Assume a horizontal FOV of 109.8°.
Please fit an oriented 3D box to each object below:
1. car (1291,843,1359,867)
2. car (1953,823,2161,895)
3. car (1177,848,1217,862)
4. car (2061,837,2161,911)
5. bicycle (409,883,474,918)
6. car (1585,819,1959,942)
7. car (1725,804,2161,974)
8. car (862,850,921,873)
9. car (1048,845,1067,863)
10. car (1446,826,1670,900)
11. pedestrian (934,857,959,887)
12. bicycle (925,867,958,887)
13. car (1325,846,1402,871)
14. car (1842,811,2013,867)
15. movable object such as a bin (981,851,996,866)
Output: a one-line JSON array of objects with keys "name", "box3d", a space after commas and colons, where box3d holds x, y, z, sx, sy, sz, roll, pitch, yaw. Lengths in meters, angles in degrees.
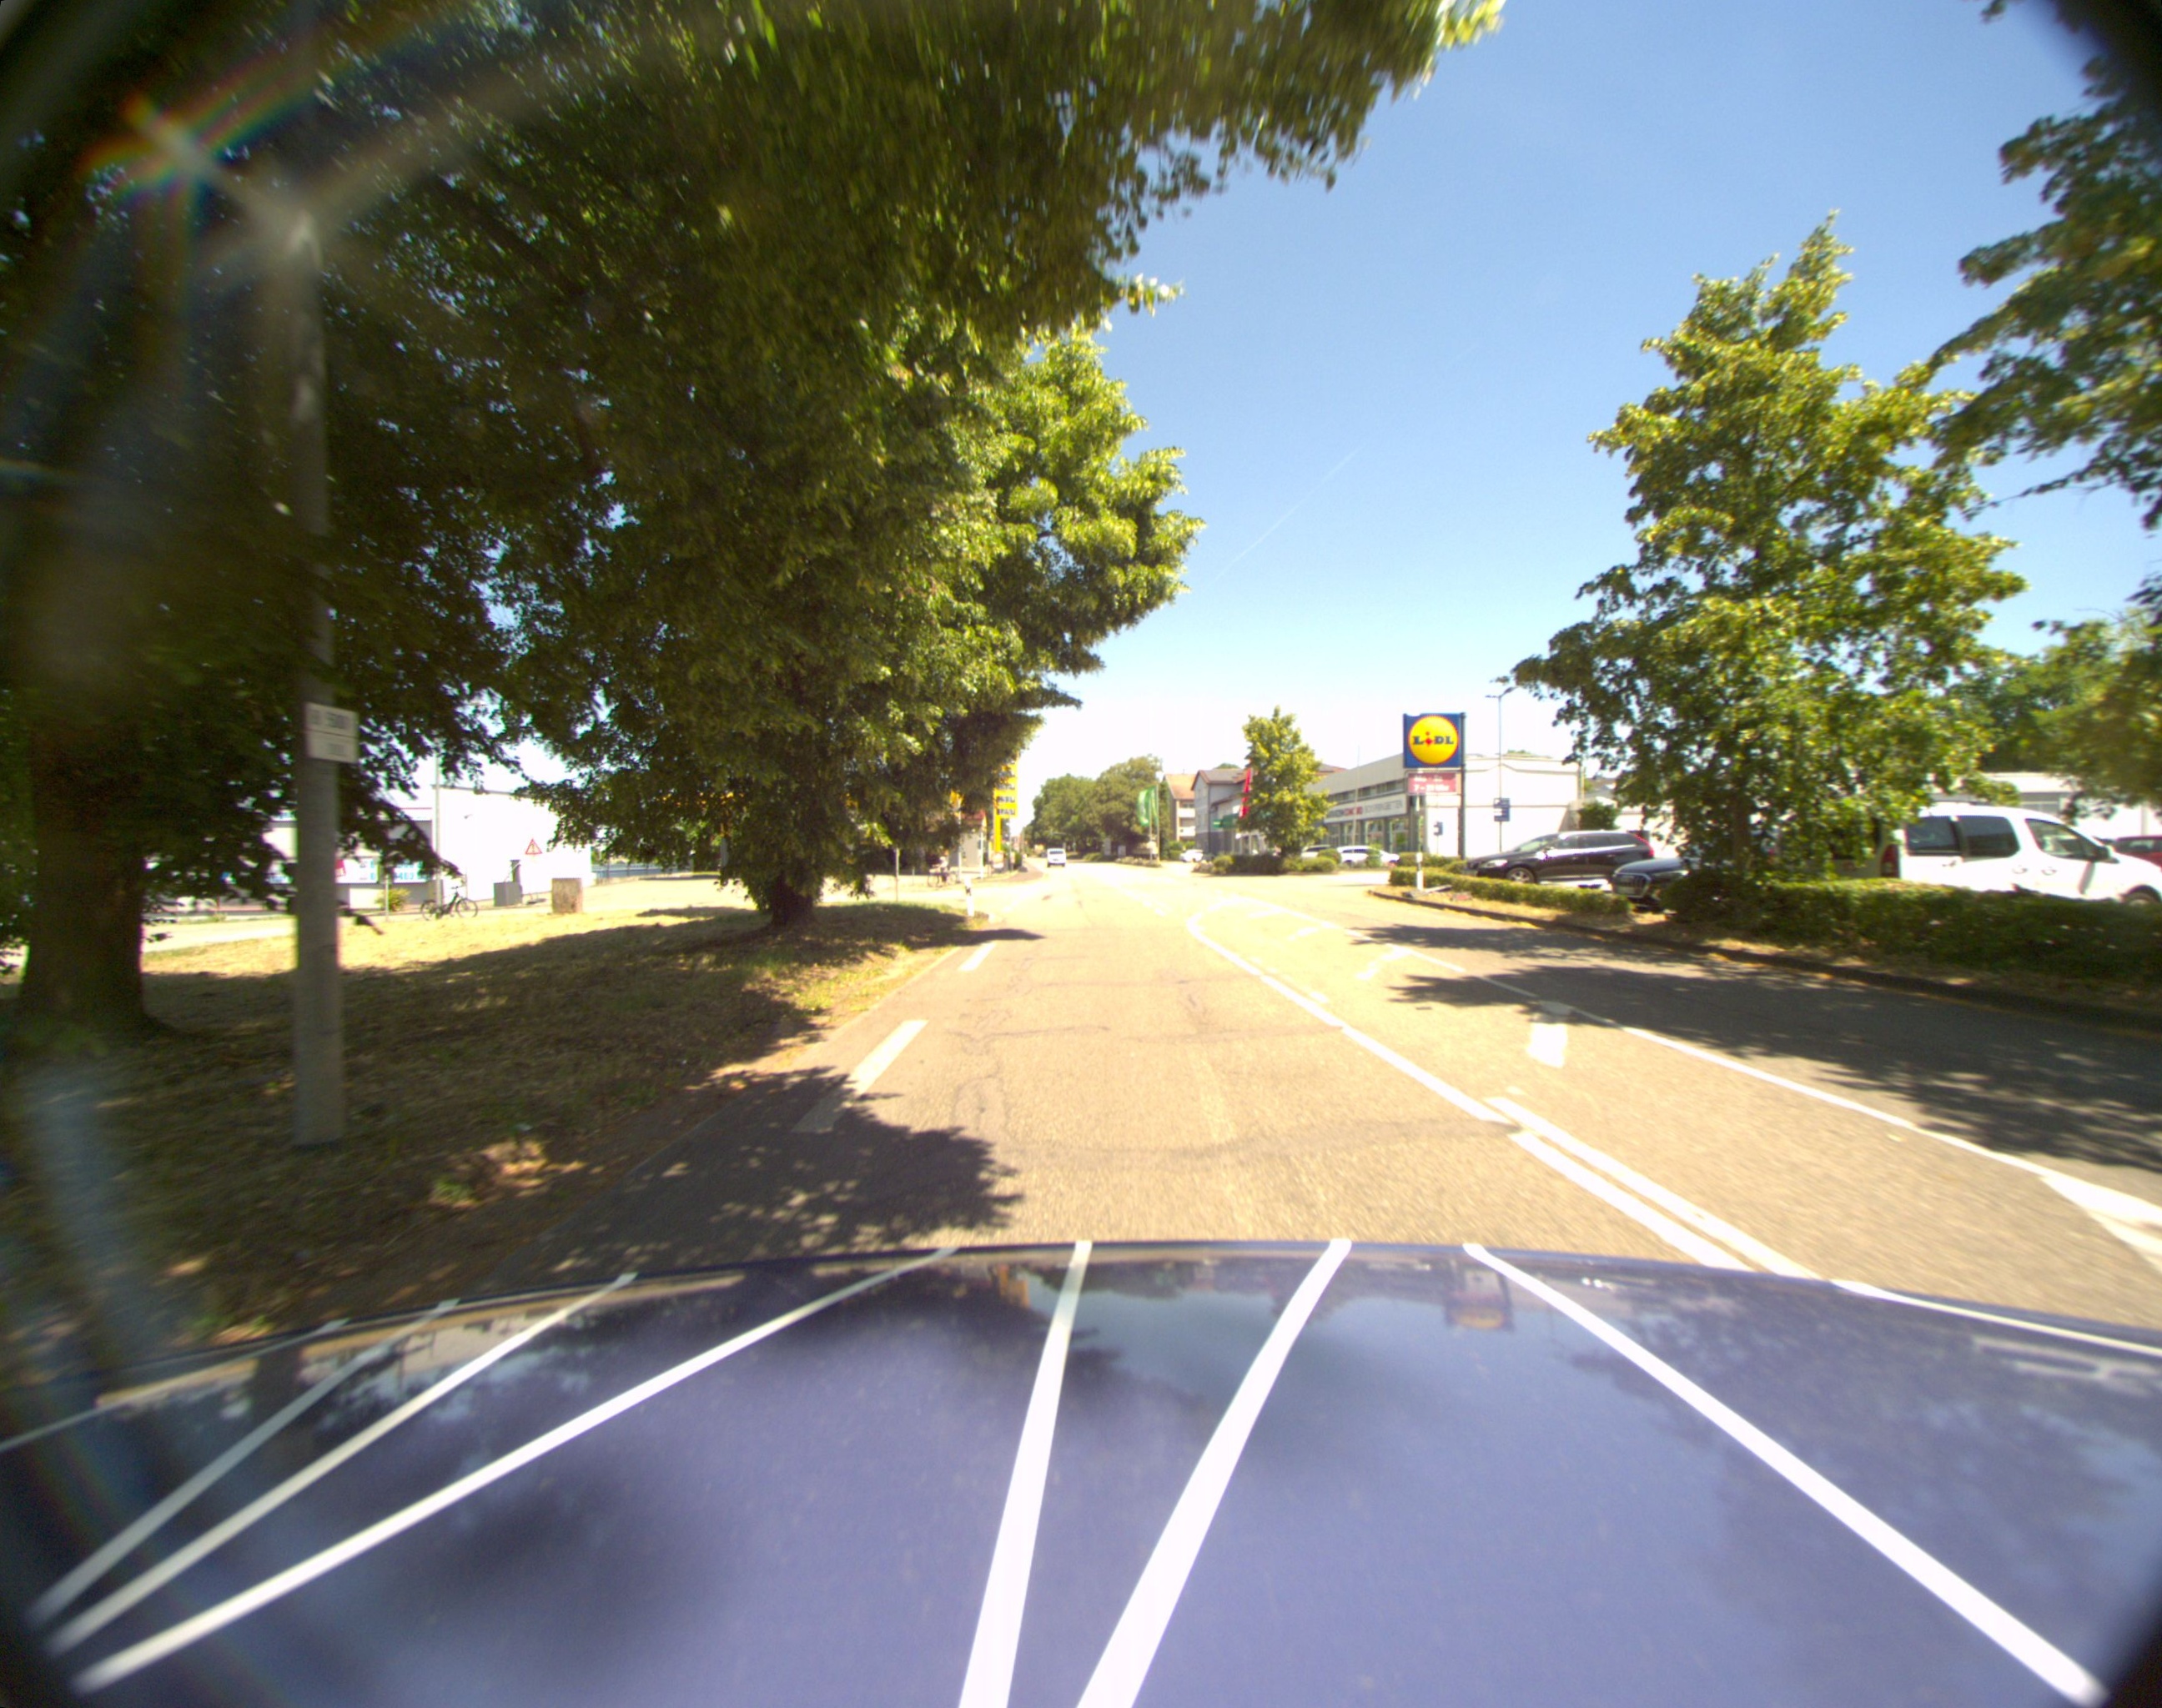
[{"name": "car", "box3d": [17.615, 0.067, 55.061, 4.537, 1.654, 2.002, -1, 1, 14]}, {"name": "car", "box3d": [25.922, 0.083, 19.751, 4.324, 1.646, 2.113, -2, 2, -4]}, {"name": "car", "box3d": [13.609, 0.121, 88.958, 4.360, 1.431, 1.935, -2, 1, -27]}, {"name": "car", "box3d": [25.618, 0.379, 17.379, 4.324, 1.521, 1.826, -2, 2, -4]}, {"name": "bicycle", "box3d": [-21.047, 1.523, 25.010, 1.697, 1.091, 0.468, -2, 2, 2]}, {"name": "car", "box3d": [11.658, 0.420, 13.152, 4.394, 1.835, 2.104, -2, 2, 5]}, {"name": "car", "box3d": [11.791, 0.406, 10.437, 4.368, 1.969, 1.904, -2, 2, -3]}, {"name": "car", "box3d": [-17.732, 0.675, 71.402, 5.064, 1.964, 1.999, -1, 1, -3]}, {"name": "car", "box3d": [-2.603, -0.051, 83.135, 1.797, 1.904, 3.638, -1, 1, -7]}, {"name": "car", "box3d": [12.820, 0.212, 20.691, 4.718, 1.752, 2.098, -2, 2, 4]}, {"name": "pedestrian", "box3d": [-6.489, 0.851, 36.568, 0.869, 1.413, 0.769, -3, 1, -41]}, {"name": "bicycle", "box3d": [-6.791, 1.095, 36.996, 1.601, 0.907, 0.378, -2, 1, -40]}, {"name": "car", "box3d": [17.486, 0.271, 47.255, 4.190, 1.438, 1.981, -2, 0, 12]}, {"name": "car", "box3d": [44.091, -0.773, 39.871, 2.287, 2.612, 5.897, -2, 1, -2]}, {"name": "movable object such as a bin", "box3d": [-9.251, 0.416, 75.840, 1.438, 1.429, 1.467, 0, 1, -4]}]
